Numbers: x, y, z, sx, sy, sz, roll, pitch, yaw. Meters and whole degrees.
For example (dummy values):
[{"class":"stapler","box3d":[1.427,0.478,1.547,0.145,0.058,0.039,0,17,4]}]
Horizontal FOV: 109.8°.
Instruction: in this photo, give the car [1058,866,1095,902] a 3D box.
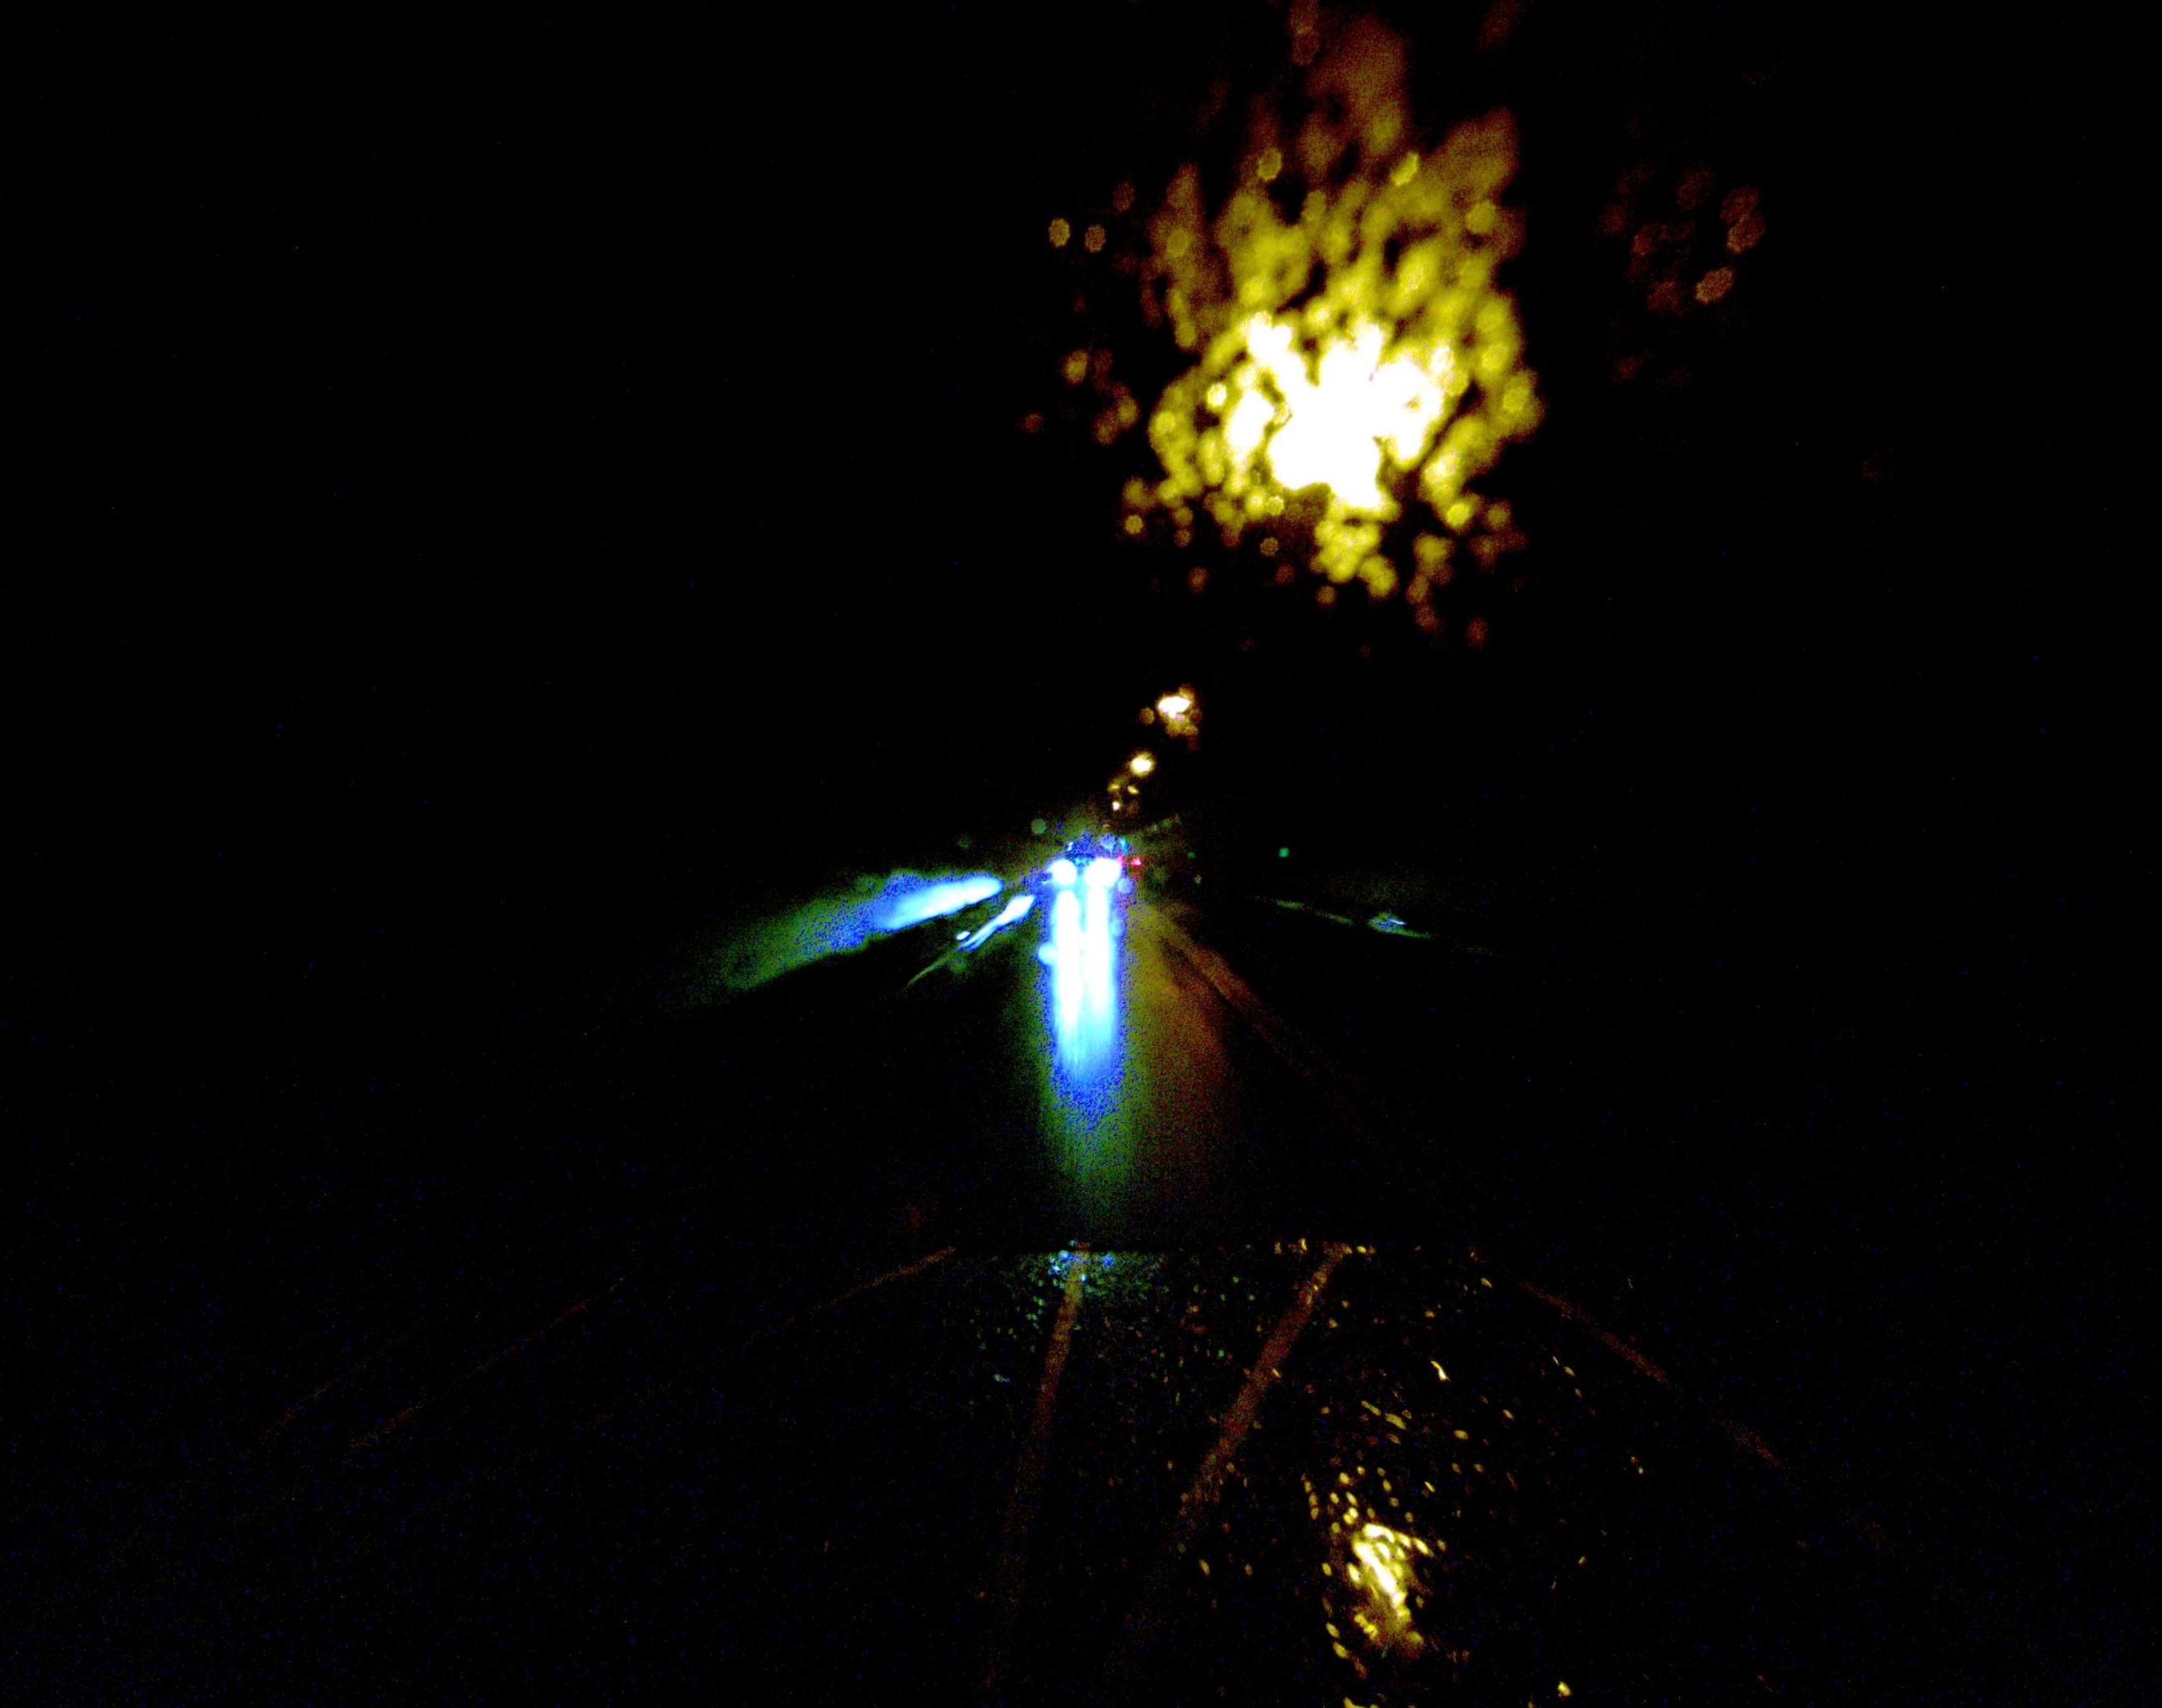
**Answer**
[{"class":"car","box3d":[-0.167,1.380,36.115,1.627,1.487,3.584,-2,1,1]}]

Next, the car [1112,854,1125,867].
[{"class":"car","box3d":[5.052,0.796,102.459,1.639,1.618,4.145,-2,1,1]}]
